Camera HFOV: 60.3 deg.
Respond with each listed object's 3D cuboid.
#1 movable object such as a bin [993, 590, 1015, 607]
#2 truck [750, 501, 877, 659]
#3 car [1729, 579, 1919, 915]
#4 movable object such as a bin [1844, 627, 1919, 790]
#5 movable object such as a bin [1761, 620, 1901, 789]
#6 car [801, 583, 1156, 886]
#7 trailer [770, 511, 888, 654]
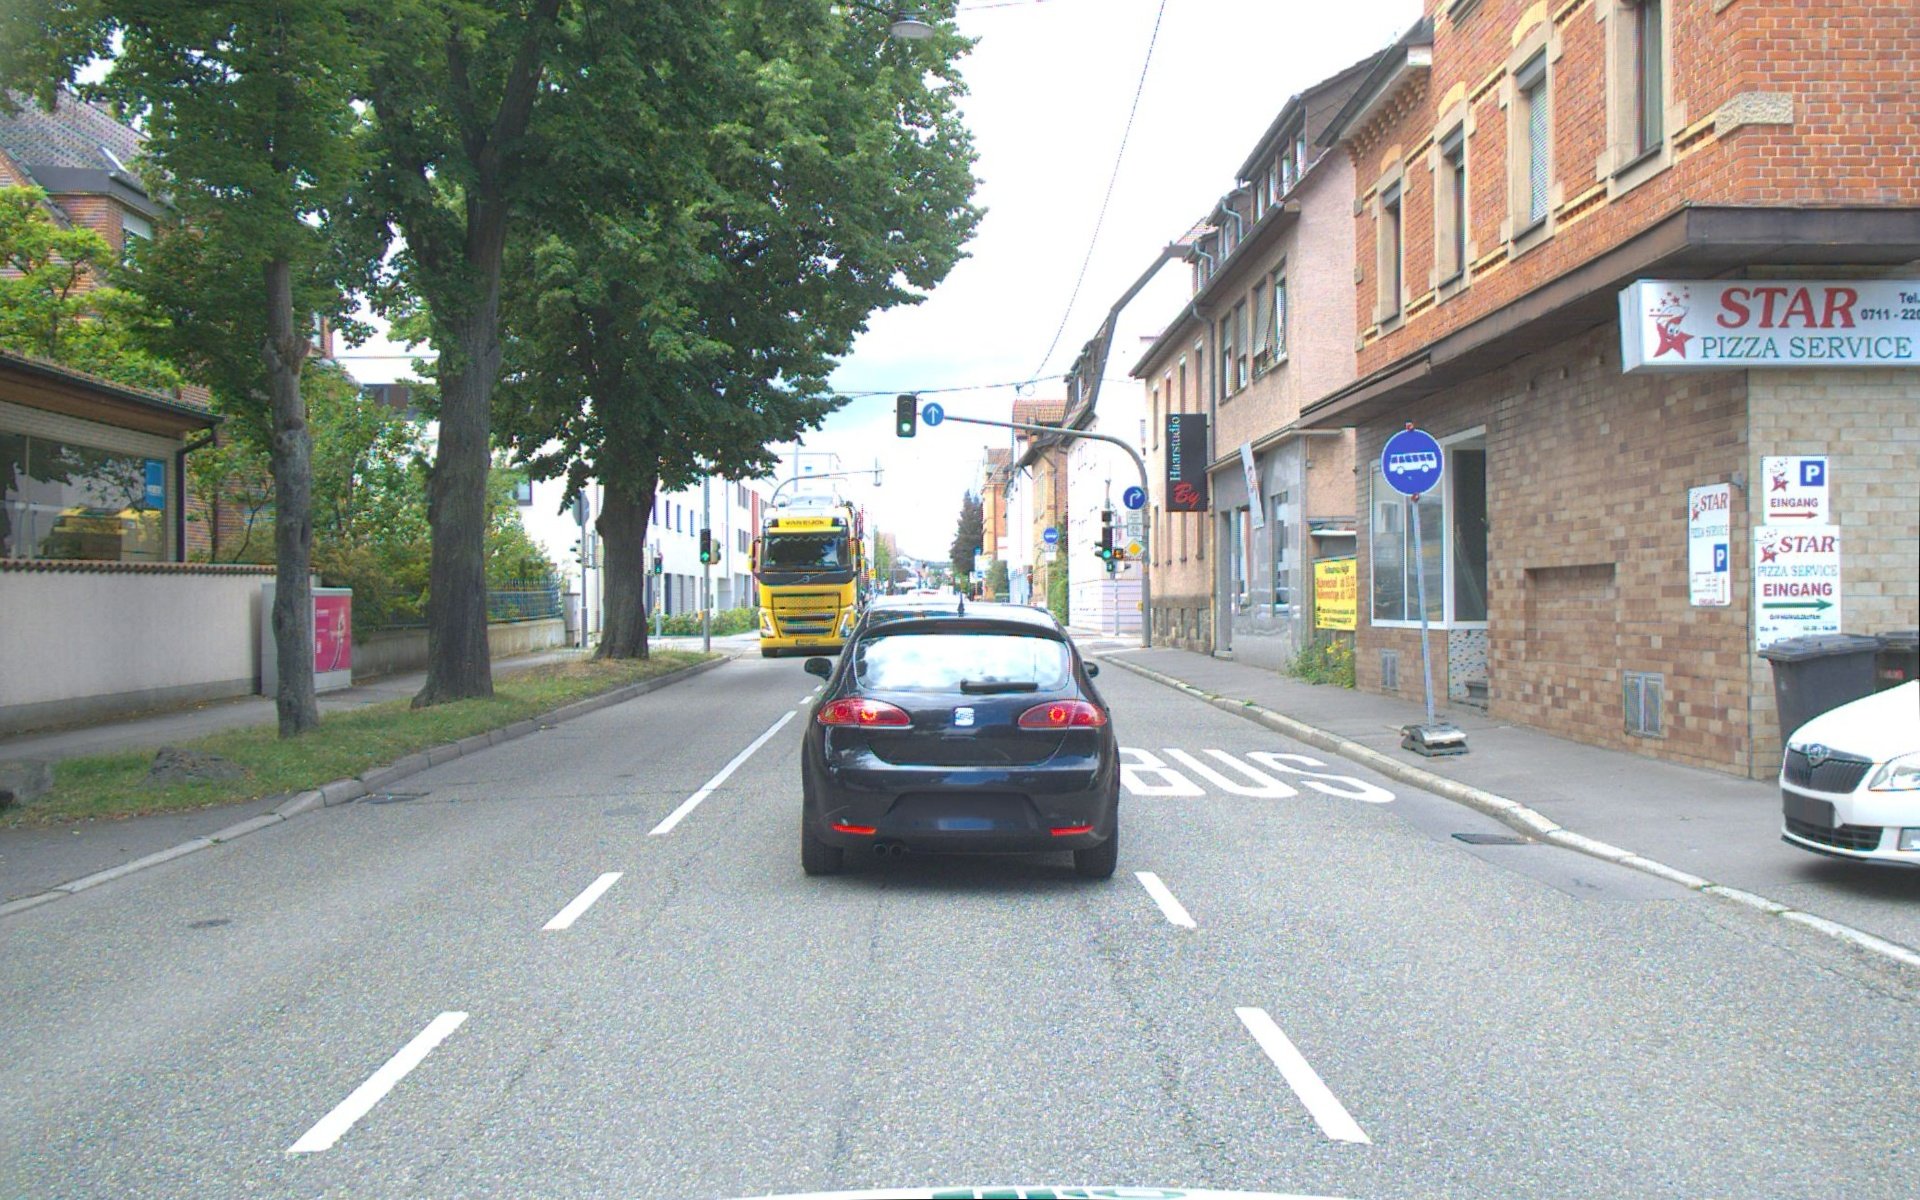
[{"bbox_3d":[3.773,-0.112,140.864,1.781,1.462,1.992,1,0,0],"label":"movable object such as a bin"},{"bbox_3d":[-3.789,-0.484,44.466,2.786,3.848,7.668,1,0,-1],"label":"truck"},{"bbox_3d":[6.319,0.554,8.481,3.949,1.495,1.600,-5,0,-3],"label":"car"},{"bbox_3d":[6.750,0.739,11.589,0.684,1.077,0.723,-2,0,-1],"label":"movable object such as a bin"},{"bbox_3d":[6.057,0.711,11.526,0.594,1.120,0.622,-2,0,-1],"label":"movable object such as a bin"},{"bbox_3d":[0.052,0.668,10.093,1.723,1.467,3.999,1,0,-1],"label":"car"},{"bbox_3d":[-3.906,-0.456,52.481,2.800,3.875,14.387,1,0,-1],"label":"trailer"}]
